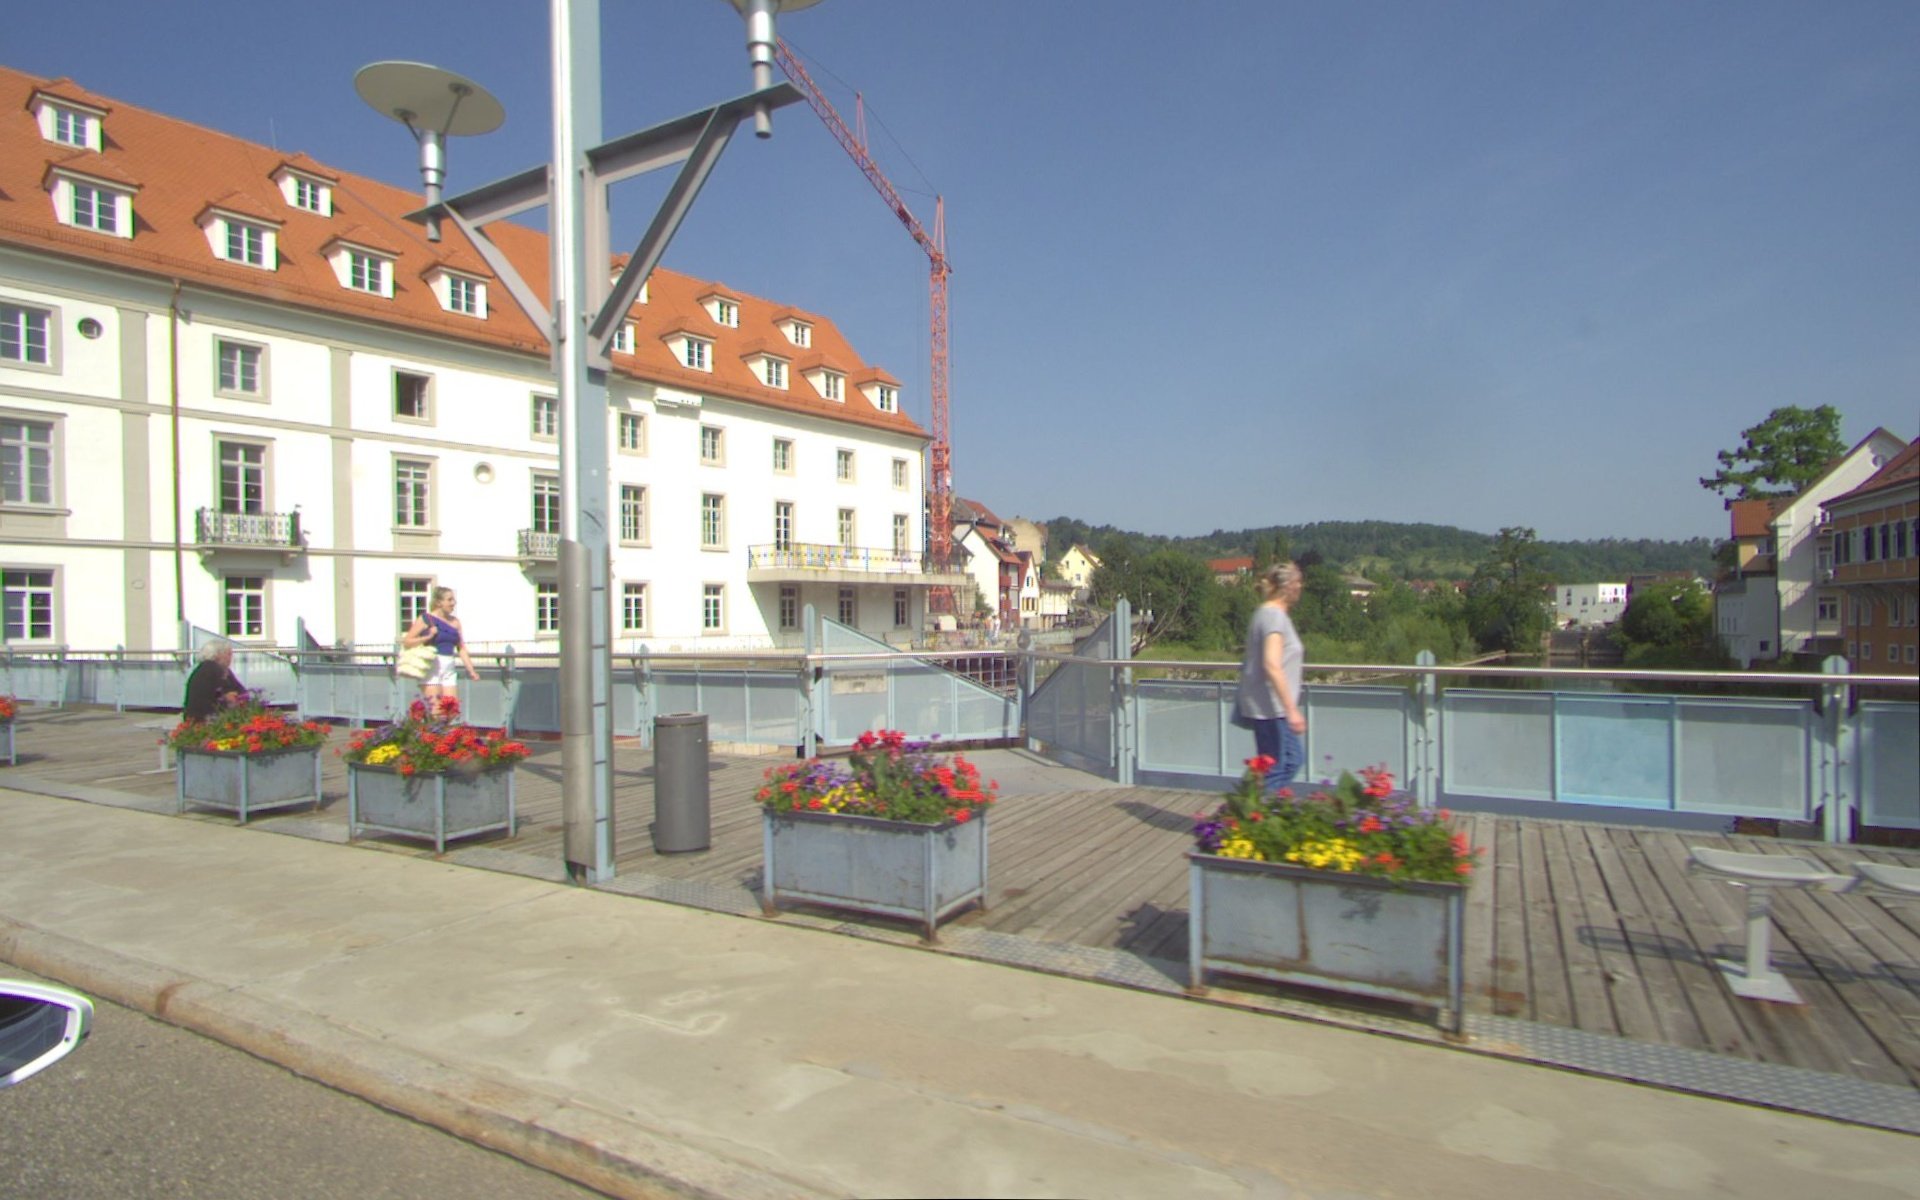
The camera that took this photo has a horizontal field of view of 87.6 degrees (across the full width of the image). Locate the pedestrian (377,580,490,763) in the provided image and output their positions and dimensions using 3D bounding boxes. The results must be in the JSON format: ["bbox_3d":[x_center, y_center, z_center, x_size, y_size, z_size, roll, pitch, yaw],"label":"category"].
[{"bbox_3d":[-5.264,0.689,10.028,0.736,1.746,0.725,0,0,31],"label":"pedestrian"}]

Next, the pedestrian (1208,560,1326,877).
[{"bbox_3d":[1.731,0.623,5.604,0.554,1.639,0.666,0,0,24],"label":"pedestrian"}]

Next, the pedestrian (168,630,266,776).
[{"bbox_3d":[-6.707,0.906,9.042,0.616,1.260,0.452,-1,0,24],"label":"pedestrian"}]
